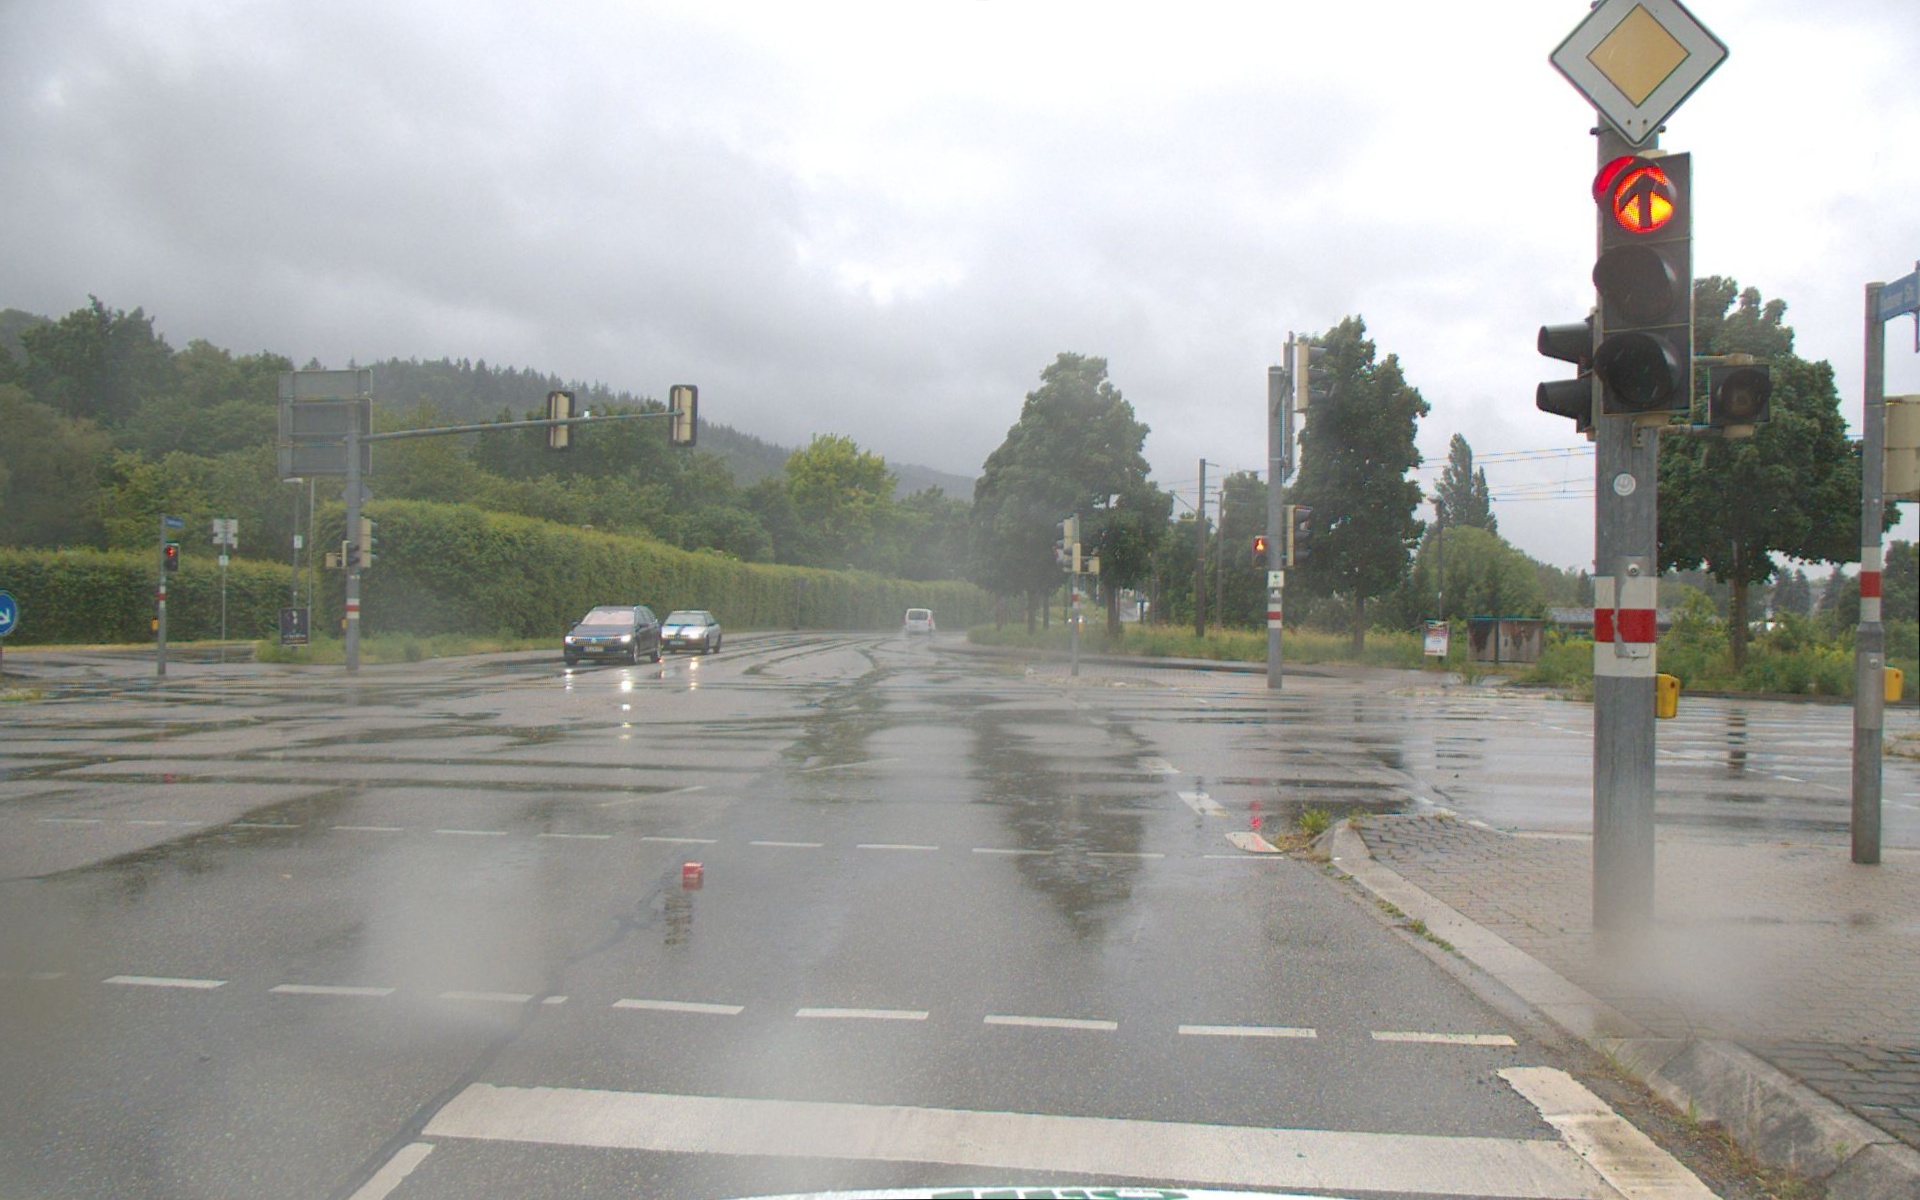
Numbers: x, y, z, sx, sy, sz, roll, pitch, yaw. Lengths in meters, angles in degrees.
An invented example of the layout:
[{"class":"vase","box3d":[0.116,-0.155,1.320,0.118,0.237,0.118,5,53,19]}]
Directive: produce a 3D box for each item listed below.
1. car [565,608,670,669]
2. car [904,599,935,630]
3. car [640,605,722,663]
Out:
[{"class":"car","box3d":[-8.896,0.957,43.290,1.673,1.491,4.454,0,0,2]},{"class":"car","box3d":[-2.588,0.908,105.097,1.914,1.937,4.118,0,0,-2]},{"class":"car","box3d":[-8.997,1.057,53.625,1.995,1.738,4.065,1,0,-1]}]
